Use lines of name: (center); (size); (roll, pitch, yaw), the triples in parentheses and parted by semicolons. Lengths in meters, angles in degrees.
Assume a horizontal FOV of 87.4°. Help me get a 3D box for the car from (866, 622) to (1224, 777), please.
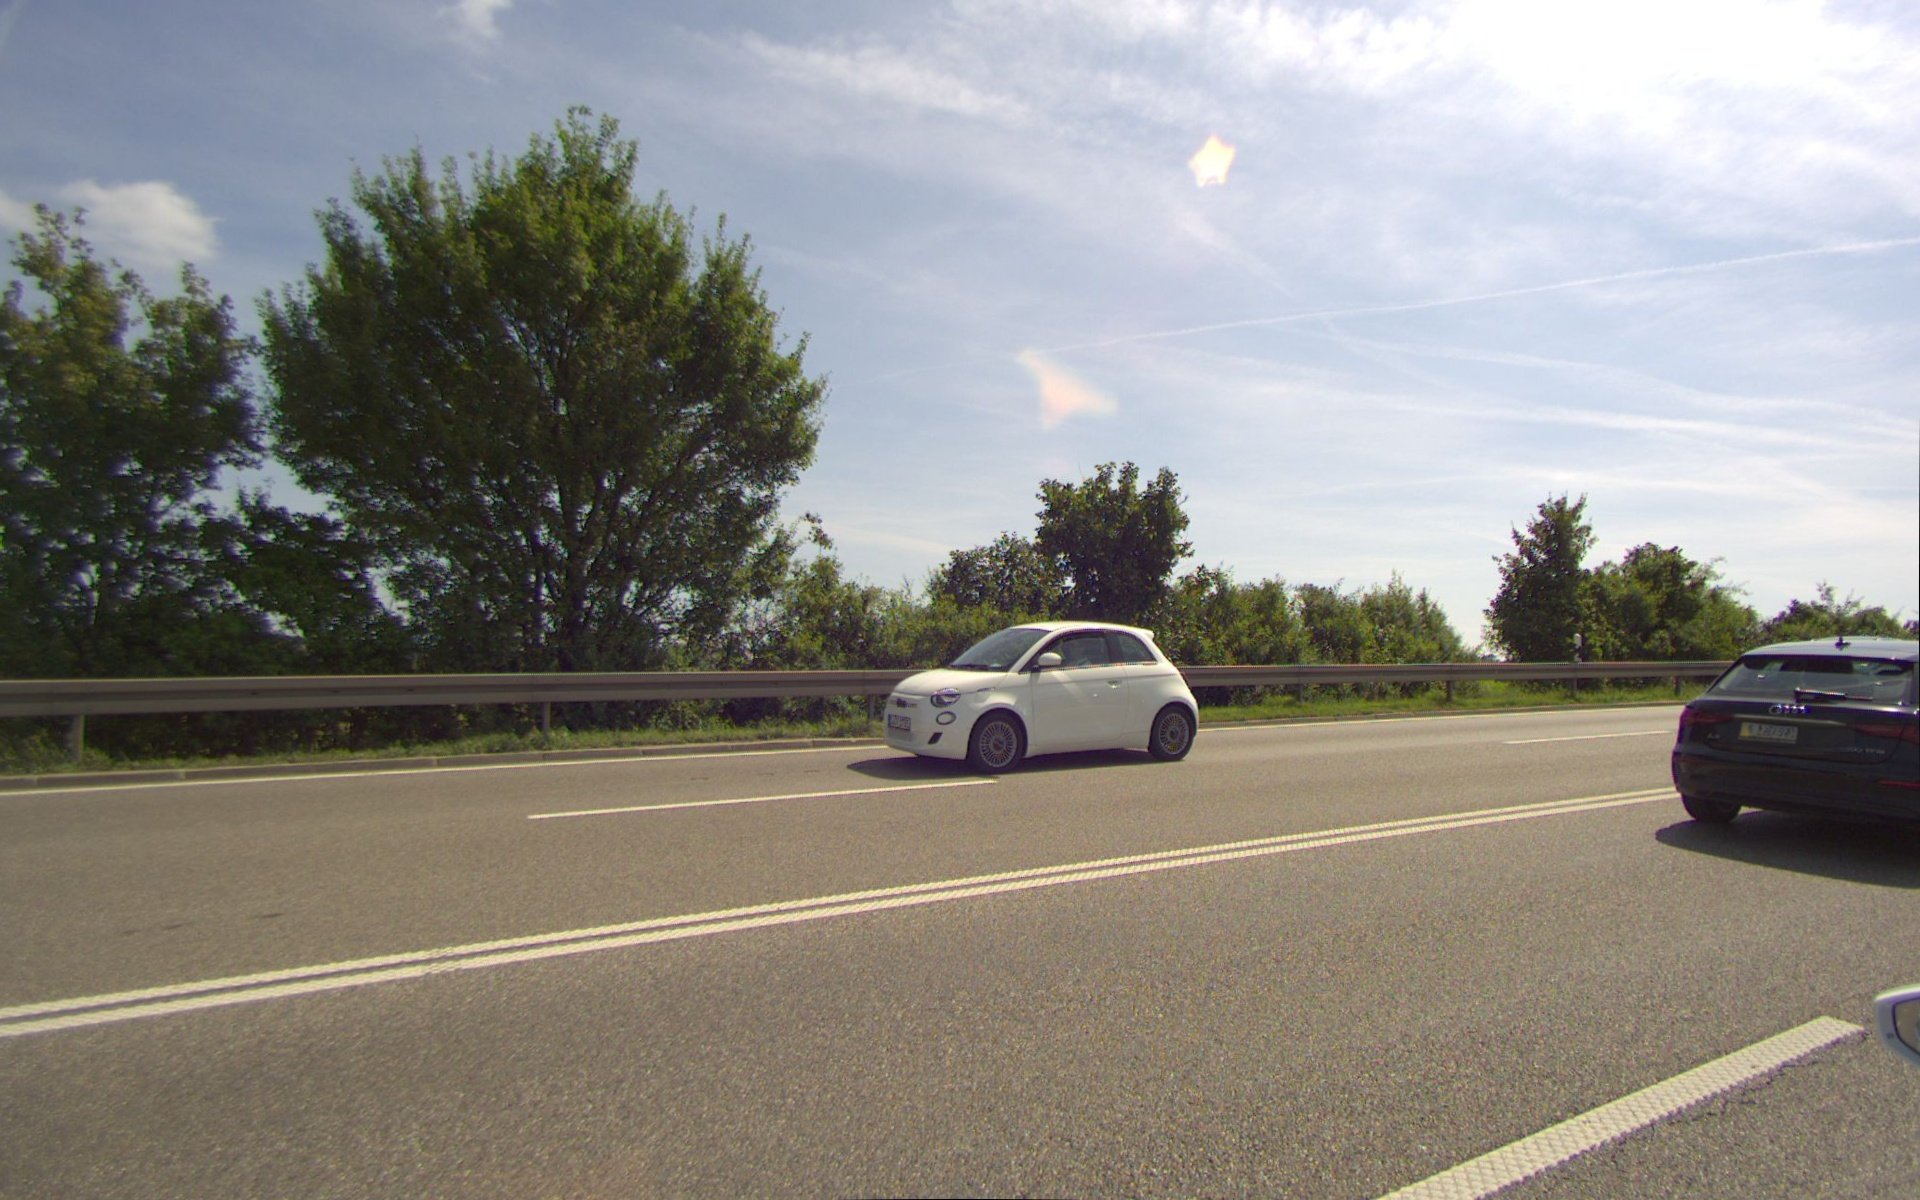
car: (0.973, 1.012, 11.185); (3.687, 1.476, 1.651); (2, -2, -28)

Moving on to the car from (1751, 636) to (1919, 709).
car: (19.475, 1.543, 22.059); (4.274, 1.474, 1.828); (2, -2, -29)

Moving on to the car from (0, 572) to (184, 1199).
car: (-3.943, 0.661, 1.084); (4.737, 1.492, 1.810); (1, -1, -33)

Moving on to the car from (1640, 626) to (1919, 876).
car: (7.525, 0.995, 7.880); (4.753, 1.492, 1.698); (2, -1, -29)
